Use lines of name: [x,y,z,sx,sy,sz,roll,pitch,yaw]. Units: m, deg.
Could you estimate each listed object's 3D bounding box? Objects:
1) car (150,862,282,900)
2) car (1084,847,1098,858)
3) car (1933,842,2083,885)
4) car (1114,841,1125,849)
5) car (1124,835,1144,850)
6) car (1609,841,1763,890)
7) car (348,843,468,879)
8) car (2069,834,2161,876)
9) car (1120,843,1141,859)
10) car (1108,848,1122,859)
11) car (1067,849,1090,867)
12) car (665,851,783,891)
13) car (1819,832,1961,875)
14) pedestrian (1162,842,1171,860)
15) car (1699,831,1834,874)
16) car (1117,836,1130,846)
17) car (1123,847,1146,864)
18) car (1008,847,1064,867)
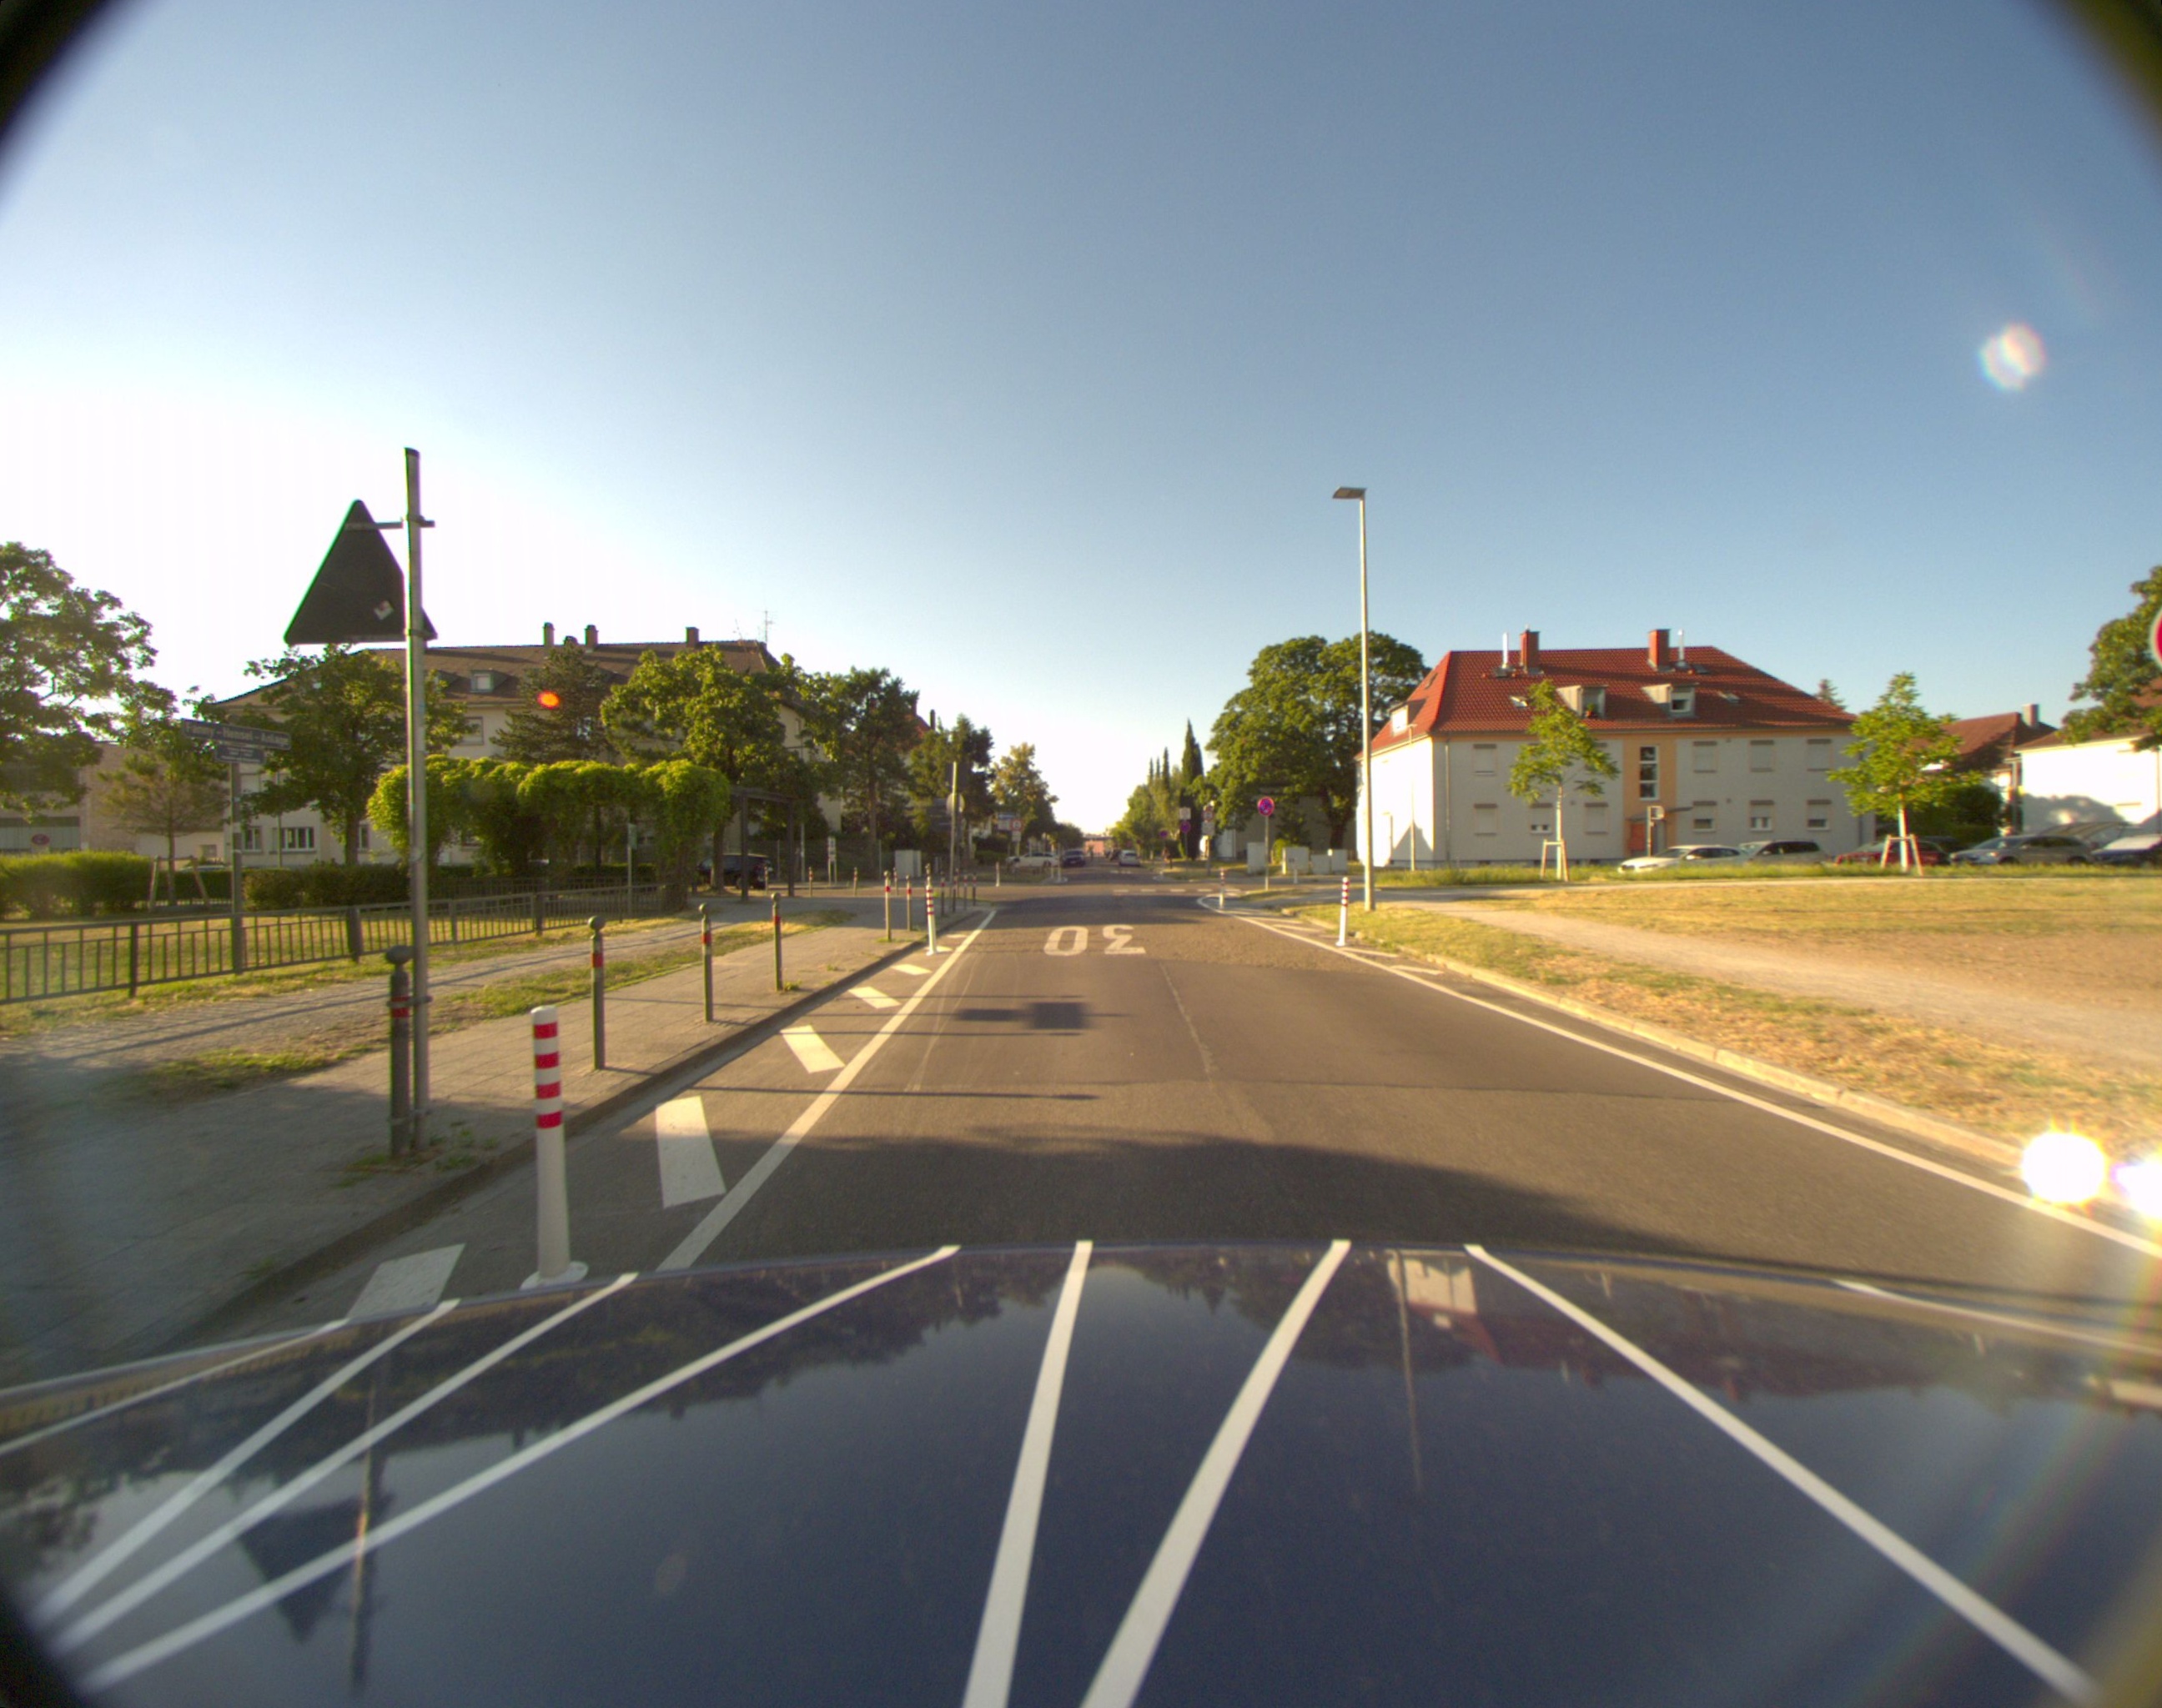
car: [-38.745,1.197,34.099,3.770,1.517,1.770,-1,2,0]
car: [1.488,-0.236,115.092,1.971,1.604,4.246,-1,1,-2]
car: [38.631,0.390,31.741,3.997,1.685,1.851,-1,-1,-1]
car: [7.629,-1.797,149.179,1.970,1.604,4.247,-1,1,0]
car: [6.062,-1.310,86.873,1.970,1.604,4.247,-1,1,0]
car: [22.647,0.441,28.566,4.298,1.685,1.871,-1,-1,-1]
car: [-29.947,0.314,33.873,3.757,1.509,1.735,-1,1,1]
car: [43.997,0.039,31.359,3.997,1.685,1.851,-1,-1,-1]
car: [5.303,-0.314,81.434,1.970,1.604,4.247,-1,1,0]
car: [5.236,-0.058,118.088,1.970,1.604,4.247,-1,1,0]
car: [-0.286,0.353,71.471,1.971,1.604,4.246,-1,1,-2]
car: [-15.381,0.740,32.854,4.213,1.631,1.823,-1,-2,-1]
car: [33.949,-0.012,31.954,3.997,1.685,1.851,-1,-1,-1]
pedestrian: [9.703,-0.312,85.947,0.898,2.002,0.692,-1,1,0]
car: [28.707,-0.024,31.927,3.997,1.685,1.851,-1,-1,-1]
car: [7.355,-2.249,133.058,1.970,1.604,4.246,-1,1,0]
car: [5.080,0.119,72.612,1.970,1.604,4.247,-1,1,0]
car: [-3.985,0.252,67.629,4.835,1.604,1.971,-1,1,-1]
